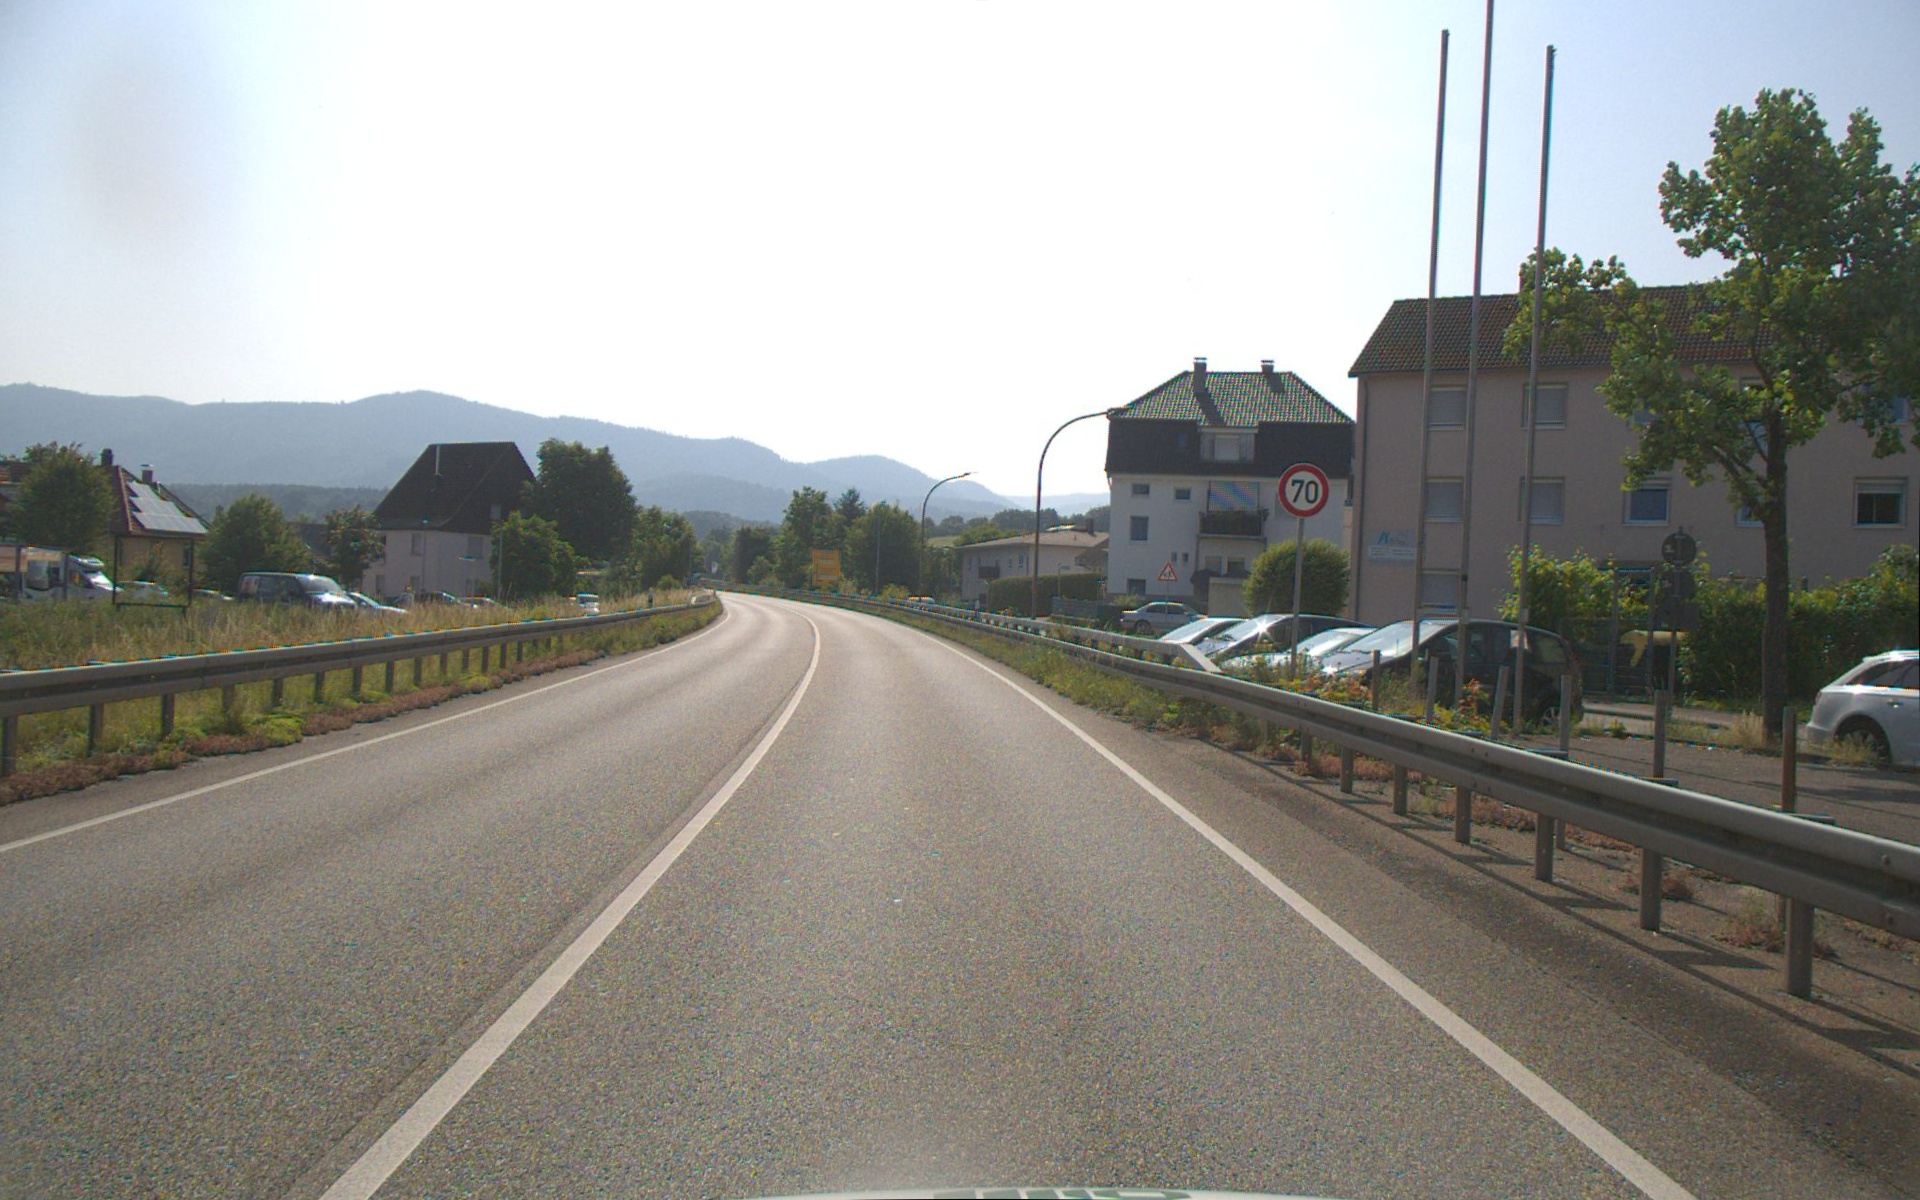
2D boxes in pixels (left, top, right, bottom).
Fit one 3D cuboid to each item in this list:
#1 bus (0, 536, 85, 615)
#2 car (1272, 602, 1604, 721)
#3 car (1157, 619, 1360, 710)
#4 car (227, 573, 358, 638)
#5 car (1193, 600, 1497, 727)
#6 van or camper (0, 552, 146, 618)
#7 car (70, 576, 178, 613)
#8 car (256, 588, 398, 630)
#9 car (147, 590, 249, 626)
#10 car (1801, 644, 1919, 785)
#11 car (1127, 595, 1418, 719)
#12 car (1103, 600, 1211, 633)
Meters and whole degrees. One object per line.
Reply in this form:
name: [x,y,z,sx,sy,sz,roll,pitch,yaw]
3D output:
bus: [-45.467,-1.260,76.119,8.911,3.412,2.666,3,1,1]
car: [6.348,0.804,22.032,3.995,1.477,1.719,1,0,-19]
car: [5.345,1.147,29.726,3.209,1.400,1.543,4,-2,-15]
car: [-22.476,0.163,55.631,4.813,2.049,1.990,2,0,39]
car: [5.622,0.920,24.316,3.919,1.474,1.759,5,-1,-13]
van or camper: [-43.570,-0.747,79.652,7.242,2.892,2.747,3,0,1]
car: [-42.449,-0.283,84.000,4.464,1.662,1.862,3,0,1]
car: [-23.109,0.313,60.523,4.531,1.406,1.739,1,0,-10]
car: [-40.726,0.440,88.434,4.464,1.662,1.862,3,-2,1]
car: [11.299,1.292,17.444,1.755,1.444,4.417,1,1,-17]
car: [5.045,0.911,26.847,4.164,1.599,1.911,6,-2,-15]
car: [8.795,0.728,73.867,4.502,1.372,1.755,0,1,22]
